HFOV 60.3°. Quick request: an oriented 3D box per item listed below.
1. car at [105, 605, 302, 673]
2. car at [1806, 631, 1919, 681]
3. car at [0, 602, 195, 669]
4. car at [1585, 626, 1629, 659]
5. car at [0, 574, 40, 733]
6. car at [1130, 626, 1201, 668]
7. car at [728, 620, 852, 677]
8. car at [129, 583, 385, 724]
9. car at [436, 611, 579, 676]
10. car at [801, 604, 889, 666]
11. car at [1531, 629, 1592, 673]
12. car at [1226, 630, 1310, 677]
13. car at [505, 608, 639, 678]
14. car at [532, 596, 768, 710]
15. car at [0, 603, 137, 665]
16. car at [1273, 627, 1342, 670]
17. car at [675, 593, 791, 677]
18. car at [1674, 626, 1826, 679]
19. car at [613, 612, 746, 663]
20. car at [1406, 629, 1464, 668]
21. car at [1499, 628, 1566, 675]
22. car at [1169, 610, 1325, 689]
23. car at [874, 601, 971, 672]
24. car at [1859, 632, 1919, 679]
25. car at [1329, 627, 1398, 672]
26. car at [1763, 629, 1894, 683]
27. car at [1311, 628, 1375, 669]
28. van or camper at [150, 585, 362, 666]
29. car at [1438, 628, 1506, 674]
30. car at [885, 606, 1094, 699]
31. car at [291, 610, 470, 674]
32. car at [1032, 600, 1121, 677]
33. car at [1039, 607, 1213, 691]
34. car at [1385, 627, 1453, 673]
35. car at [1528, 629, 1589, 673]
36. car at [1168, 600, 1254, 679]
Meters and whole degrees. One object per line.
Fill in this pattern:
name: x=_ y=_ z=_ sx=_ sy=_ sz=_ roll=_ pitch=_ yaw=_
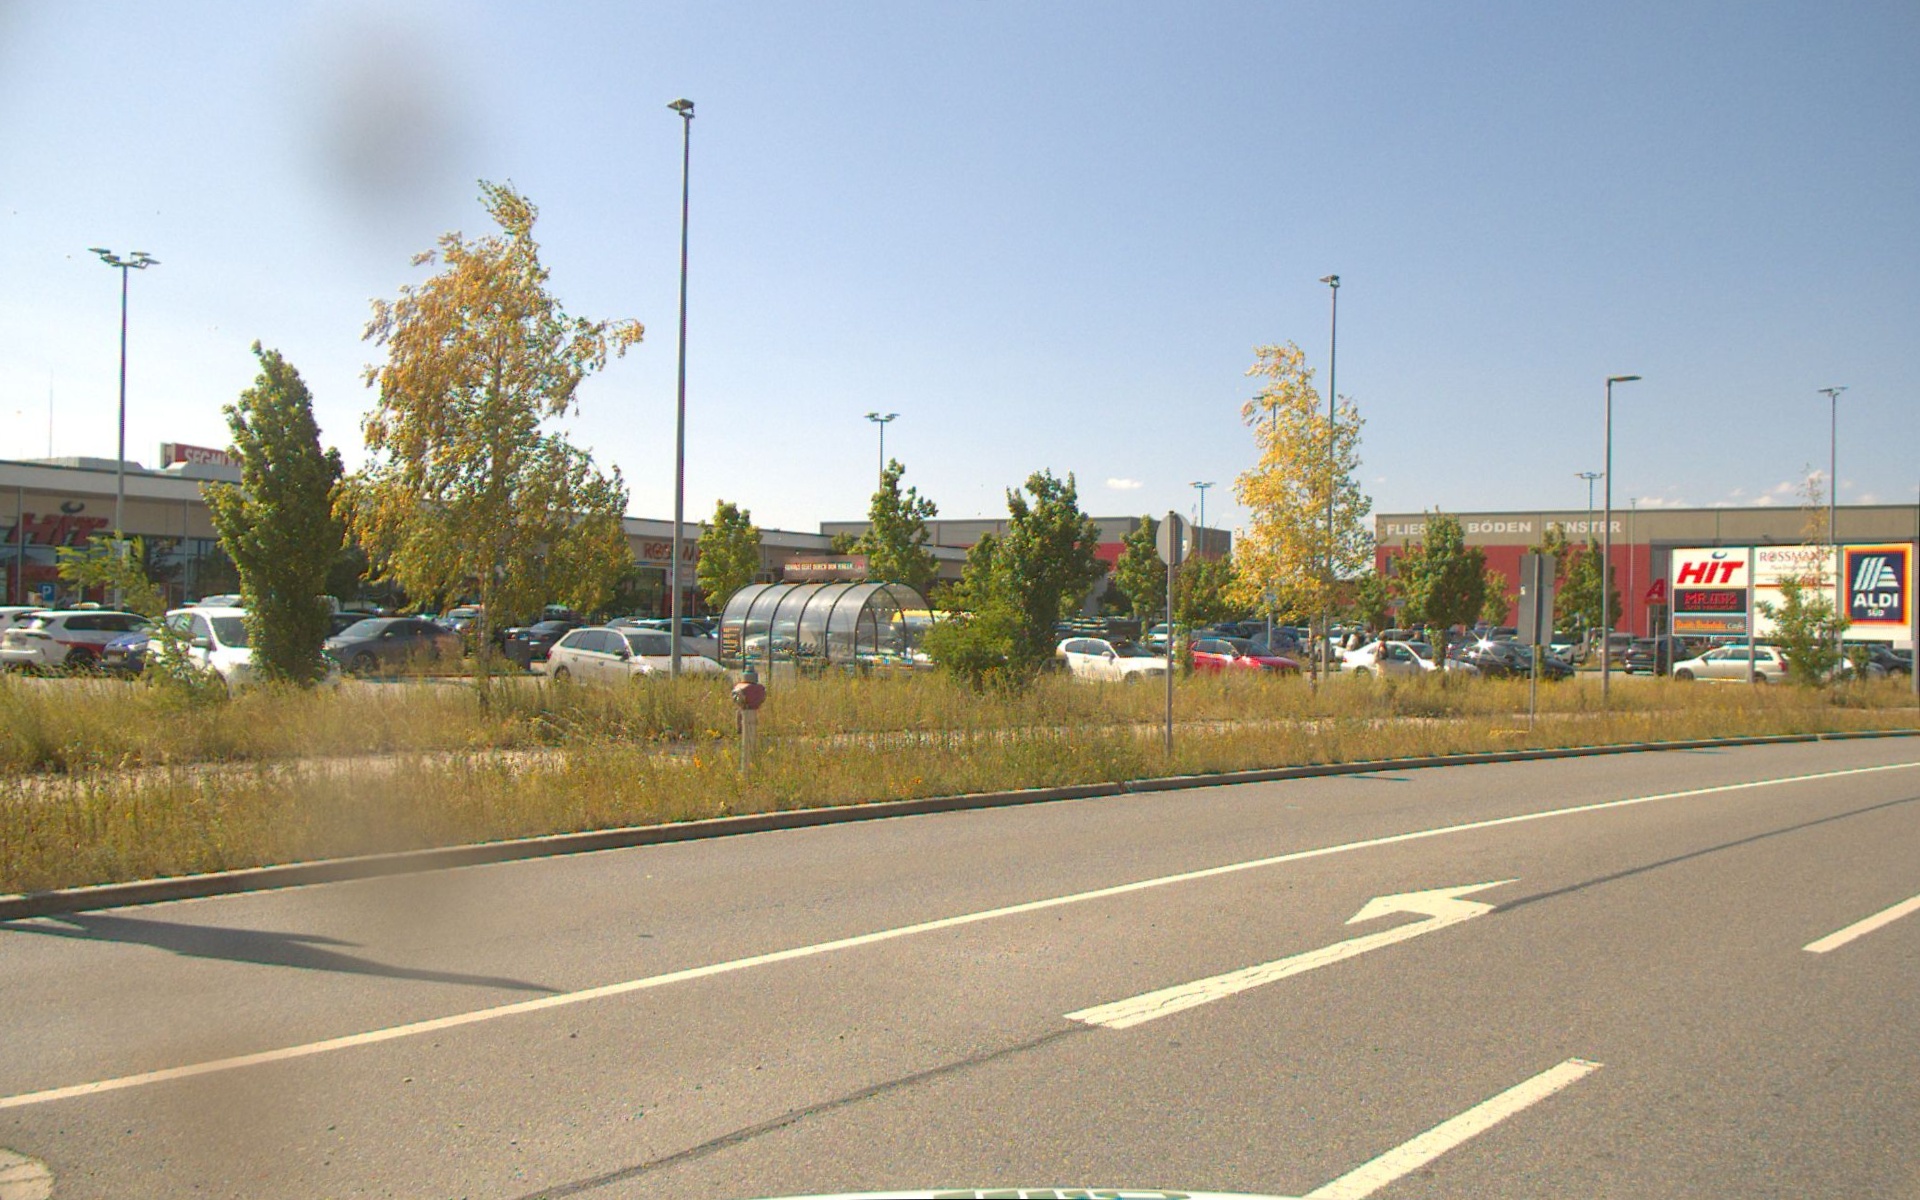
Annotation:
car: x=-16.835 y=0.842 z=36.963 sx=1.693 sy=1.415 sz=3.726 roll=0 pitch=-1 yaw=28
car: x=38.984 y=2.369 z=71.012 sx=4.408 sy=2.073 sz=1.986 roll=-1 pitch=-2 yaw=44
car: x=-19.543 y=0.786 z=37.492 sx=1.693 sy=1.415 sz=3.726 roll=0 pitch=-1 yaw=28
car: x=42.404 y=2.797 z=108.325 sx=1.957 sy=2.073 sz=4.473 roll=0 pitch=-2 yaw=32
car: x=-14.726 y=0.671 z=22.596 sx=5.131 sy=2.049 sz=2.077 roll=0 pitch=-1 yaw=40
car: x=10.537 y=2.374 z=84.550 sx=1.957 sy=2.073 sz=4.473 roll=0 pitch=-2 yaw=32
car: x=-5.827 y=1.662 z=57.266 sx=1.957 sy=1.896 sz=4.473 roll=0 pitch=-2 yaw=32
car: x=-11.394 y=0.794 z=26.601 sx=2.148 sy=2.049 sz=5.033 roll=2 pitch=-1 yaw=-44
car: x=-15.382 y=1.475 z=56.433 sx=1.960 sy=2.140 sz=4.467 roll=0 pitch=-2 yaw=36
car: x=-5.437 y=1.695 z=79.013 sx=1.957 sy=2.871 sz=4.473 roll=0 pitch=-2 yaw=32
car: x=29.254 y=2.473 z=80.396 sx=1.957 sy=2.073 sz=4.473 roll=0 pitch=-2 yaw=32
car: x=12.611 y=2.156 z=67.437 sx=1.957 sy=1.815 sz=4.304 roll=0 pitch=-2 yaw=32
car: x=-12.795 y=1.421 z=54.829 sx=1.954 sy=2.230 sz=4.480 roll=0 pitch=-1 yaw=26
car: x=-6.132 y=0.970 z=32.347 sx=2.148 sy=2.049 sz=5.033 roll=2 pitch=-1 yaw=-44
car: x=-21.856 y=0.784 z=39.386 sx=1.693 sy=1.415 sz=3.726 roll=0 pitch=-1 yaw=28
car: x=17.032 y=2.362 z=80.933 sx=1.957 sy=2.073 sz=4.473 roll=0 pitch=-2 yaw=32
car: x=-8.034 y=1.237 z=58.950 sx=1.954 sy=2.871 sz=4.480 roll=0 pitch=-1 yaw=26
car: x=27.534 y=1.802 z=57.763 sx=1.983 sy=1.745 sz=4.416 roll=2 pitch=-2 yaw=-42
car: x=-8.770 y=1.178 z=52.027 sx=1.621 sy=1.547 sz=4.336 roll=0 pitch=-2 yaw=34
car: x=26.390 y=2.690 z=91.808 sx=1.957 sy=2.073 sz=4.473 roll=0 pitch=-2 yaw=32
car: x=26.085 y=2.330 z=75.229 sx=1.957 sy=2.073 sz=4.473 roll=0 pitch=-2 yaw=32
car: x=7.933 y=1.344 z=45.989 sx=1.864 sy=2.049 sz=4.080 roll=2 pitch=-1 yaw=-39
car: x=-1.553 y=1.531 z=69.557 sx=1.957 sy=2.871 sz=4.473 roll=0 pitch=-2 yaw=32
car: x=43.242 y=2.488 z=74.572 sx=4.408 sy=2.073 sz=1.986 roll=-1 pitch=-2 yaw=44
car: x=19.446 y=2.358 z=79.646 sx=1.957 sy=2.073 sz=4.473 roll=0 pitch=-2 yaw=32
car: x=35.426 y=2.258 z=67.535 sx=4.408 sy=2.073 sz=1.986 roll=-1 pitch=-2 yaw=44
car: x=19.881 y=2.493 z=85.728 sx=1.957 sy=2.073 sz=4.473 roll=0 pitch=-2 yaw=32
van or camper: x=-18.989 y=0.678 z=44.827 sx=1.959 sy=2.049 sz=5.036 roll=0 pitch=-1 yaw=34
car: x=23.802 y=2.341 z=76.793 sx=1.957 sy=2.073 sz=4.473 roll=0 pitch=-2 yaw=32
car: x=0.628 y=1.189 z=39.322 sx=2.145 sy=2.049 sz=5.039 roll=2 pitch=-1 yaw=-41
car: x=-14.601 y=1.048 z=41.831 sx=1.835 sy=1.534 sz=3.988 roll=0 pitch=-2 yaw=33
car: x=4.581 y=1.481 z=64.360 sx=1.954 sy=2.871 sz=4.480 roll=0 pitch=-1 yaw=26
car: x=4.241 y=1.234 z=42.827 sx=1.927 sy=2.049 sz=4.344 roll=2 pitch=-1 yaw=-41
car: x=21.820 y=2.360 z=78.604 sx=1.957 sy=2.073 sz=4.473 roll=0 pitch=-2 yaw=32
car: x=29.139 y=2.473 z=80.452 sx=1.957 sy=2.073 sz=4.473 roll=0 pitch=-2 yaw=32
car: x=9.464 y=1.480 z=62.064 sx=1.954 sy=2.871 sz=4.480 roll=0 pitch=-1 yaw=26
